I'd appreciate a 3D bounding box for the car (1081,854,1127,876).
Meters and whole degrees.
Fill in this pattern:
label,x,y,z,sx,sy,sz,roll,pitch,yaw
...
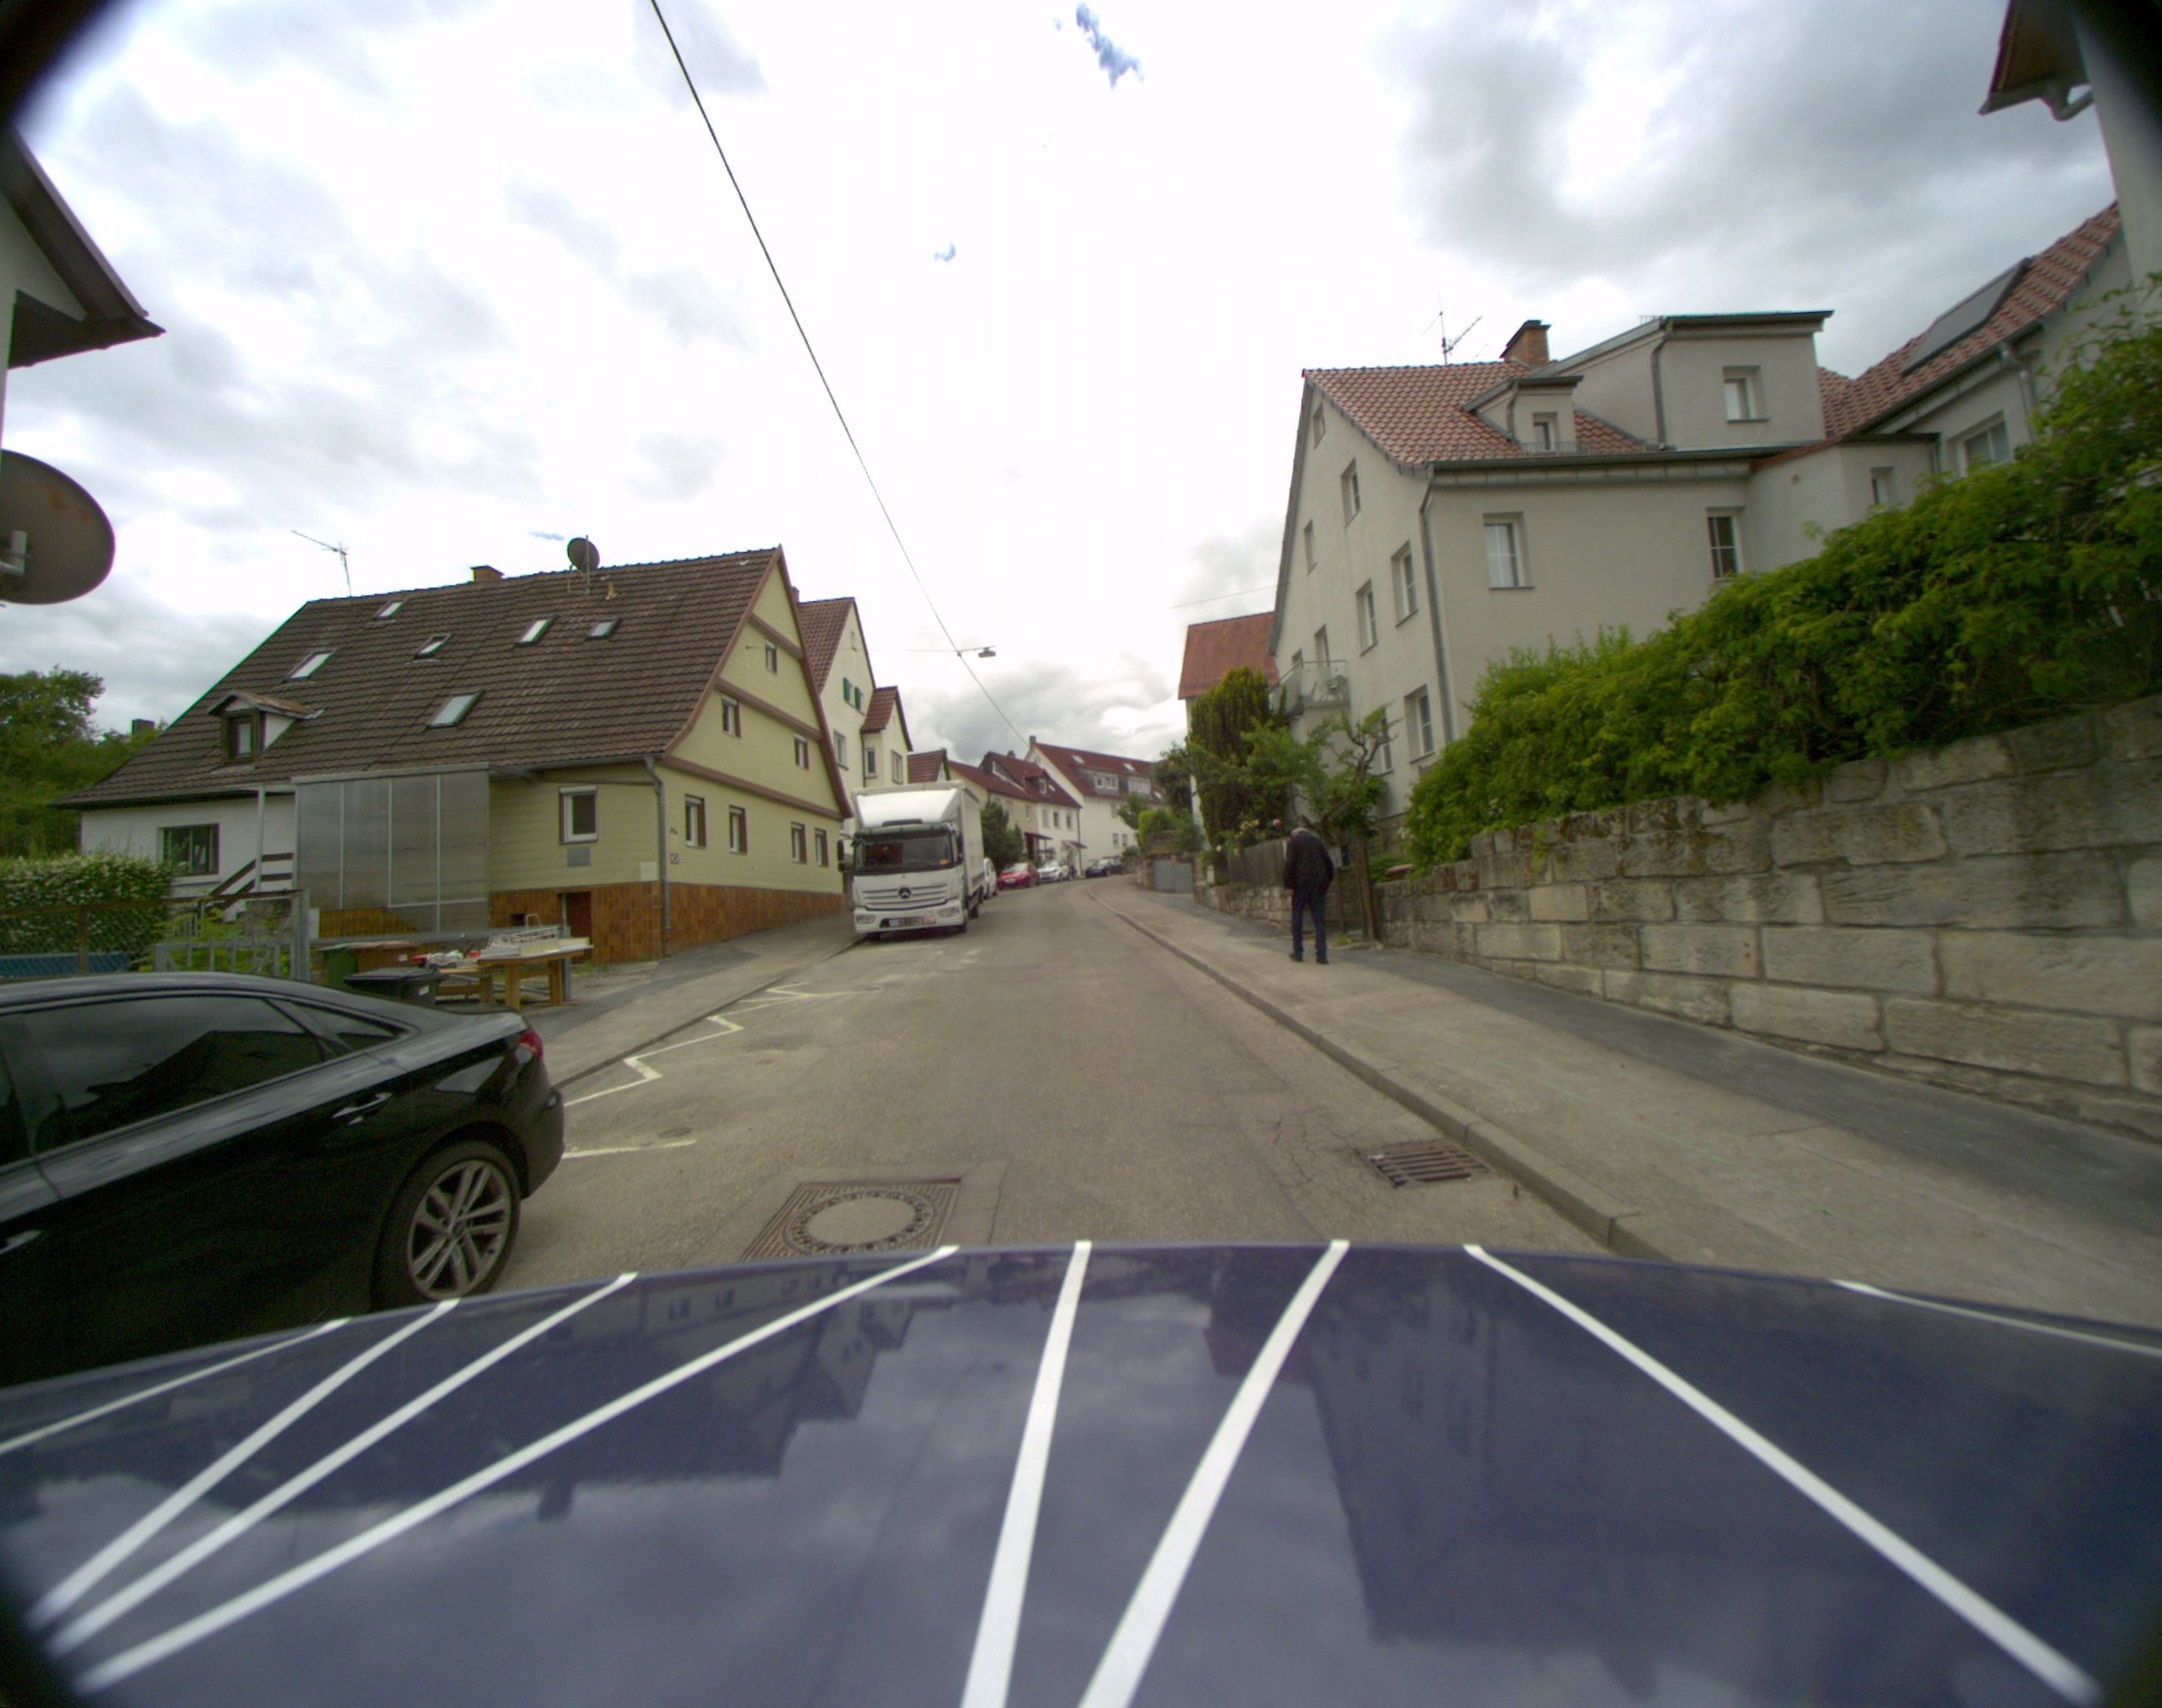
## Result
label,x,y,z,sx,sy,sz,roll,pitch,yaw
car,1.802,0.831,57.373,1.720,1.398,4.010,-7,-2,28

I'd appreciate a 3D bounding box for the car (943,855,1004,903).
label,x,y,z,sx,sy,sz,roll,pitch,yaw
car,-4.625,1.040,33.327,1.840,1.804,4.304,-6,0,1

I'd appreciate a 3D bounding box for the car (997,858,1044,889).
label,x,y,z,sx,sy,sz,roll,pitch,yaw
car,-3.365,1.087,42.917,1.682,1.443,3.854,-6,0,9

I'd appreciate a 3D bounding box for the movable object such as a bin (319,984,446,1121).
label,x,y,z,sx,sy,sz,roll,pitch,yaw
movable object such as a bin,-5.371,1.511,5.867,0.465,0.911,0.542,0,1,-1

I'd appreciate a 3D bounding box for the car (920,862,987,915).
label,x,y,z,sx,sy,sz,roll,pitch,yaw
car,-4.499,1.173,27.358,1.737,1.497,4.049,-6,1,-2

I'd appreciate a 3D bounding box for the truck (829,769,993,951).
label,x,y,z,sx,sy,sz,roll,pitch,yaw
truck,-3.985,0.149,19.807,2.683,3.576,8.103,-5,0,-4

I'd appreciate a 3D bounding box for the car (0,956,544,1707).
label,x,y,z,sx,sy,sz,roll,pitch,yaw
car,-3.132,1.211,1.146,1.678,1.400,4.051,-6,0,-1

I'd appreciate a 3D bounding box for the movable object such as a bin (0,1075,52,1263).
label,x,y,z,sx,sy,sz,roll,pitch,yaw
movable object such as a bin,-5.744,1.653,3.909,0.435,0.861,0.451,-3,-1,-43

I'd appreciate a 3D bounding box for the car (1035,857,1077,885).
label,x,y,z,sx,sy,sz,roll,pitch,yaw
car,-1.603,1.097,49.918,1.614,1.523,2.900,-8,-1,19

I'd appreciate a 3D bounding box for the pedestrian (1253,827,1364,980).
label,x,y,z,sx,sy,sz,roll,pitch,yaw
pedestrian,2.699,0.560,9.126,0.842,1.668,0.976,-6,1,-3
